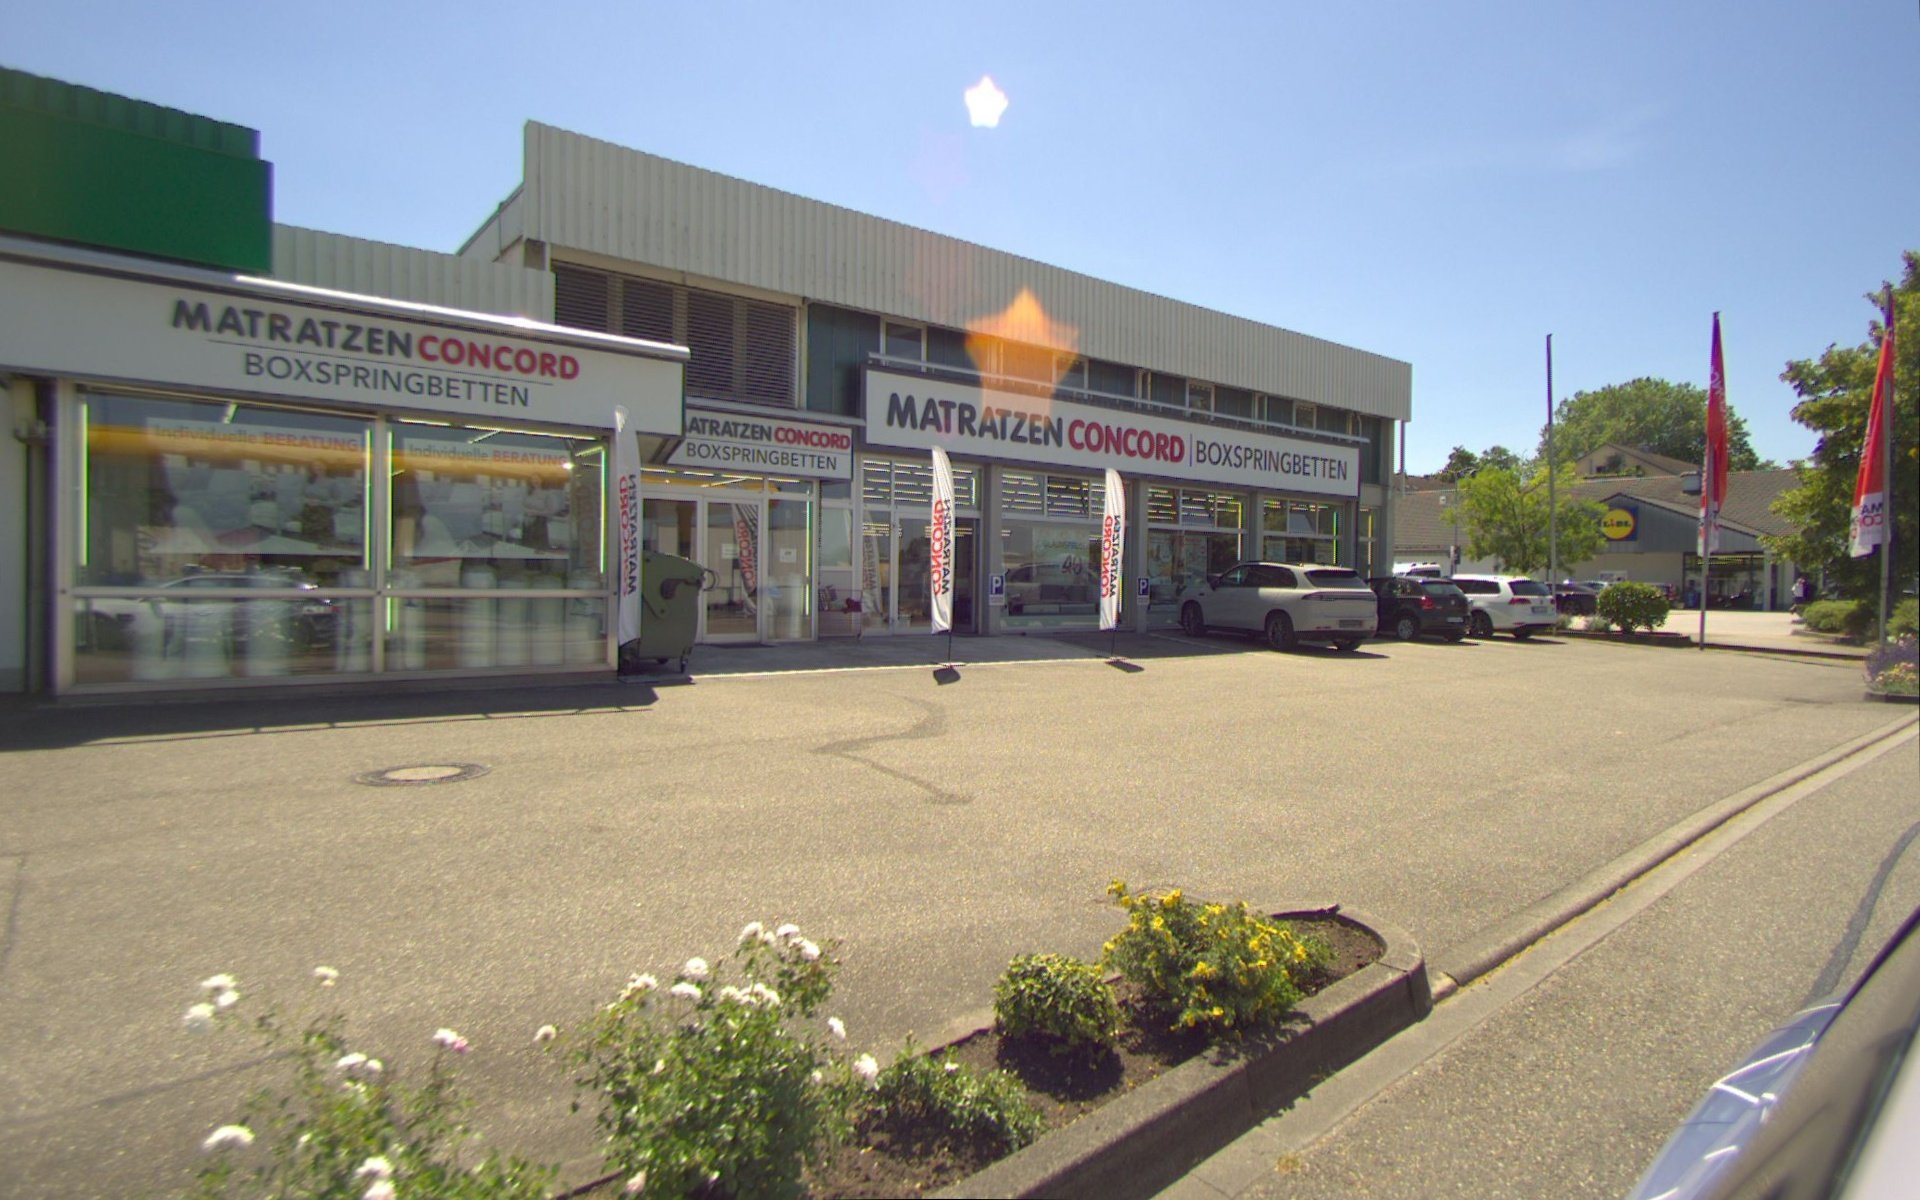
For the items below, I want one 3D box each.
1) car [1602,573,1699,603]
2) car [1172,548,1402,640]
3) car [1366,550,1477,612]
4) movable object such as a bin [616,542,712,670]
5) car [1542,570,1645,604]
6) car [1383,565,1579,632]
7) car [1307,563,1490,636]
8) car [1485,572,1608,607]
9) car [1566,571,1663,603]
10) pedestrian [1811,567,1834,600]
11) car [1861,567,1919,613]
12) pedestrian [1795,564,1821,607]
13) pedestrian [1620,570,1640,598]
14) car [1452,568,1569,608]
[{"bbox_3d":[33.970,-0.620,49.864,1.640,1.434,3.607,-1,1,-36],"label":"car"},{"bbox_3d":[6.449,-0.205,20.600,1.958,1.662,4.607,-1,2,-22],"label":"car"},{"bbox_3d":[15.154,-0.652,33.148,4.182,1.914,1.709,-2,2,-41],"label":"car"},{"bbox_3d":[-3.709,0.034,12.610,0.688,1.439,1.570,0,4,-34],"label":"movable object such as a bin"},{"bbox_3d":[29.759,-0.624,47.603,1.785,1.523,3.734,-1,1,-36],"label":"car"},{"bbox_3d":[12.643,-0.112,24.818,1.768,1.478,4.008,-1,2,-25],"label":"car"},{"bbox_3d":[10.169,-0.086,23.771,1.643,1.551,3.876,-1,3,-23],"label":"car"},{"bbox_3d":[25.537,-0.478,44.153,1.868,1.408,4.253,-1,2,-39],"label":"car"},{"bbox_3d":[31.619,-0.634,48.953,1.713,1.476,3.607,-1,1,-36],"label":"car"},{"bbox_3d":[46.477,-0.895,54.556,0.769,1.775,0.700,0,1,-31],"label":"pedestrian"},{"bbox_3d":[36.009,-0.357,36.764,1.857,1.688,4.532,0,2,-32],"label":"car"},{"bbox_3d":[40.733,-0.706,48.589,0.789,2.038,0.784,-1,2,-38],"label":"pedestrian"},{"bbox_3d":[38.012,-0.887,57.401,0.548,1.571,0.803,-1,2,-38],"label":"pedestrian"},{"bbox_3d":[23.308,-0.525,42.958,1.776,1.582,4.030,-1,1,-38],"label":"car"}]
